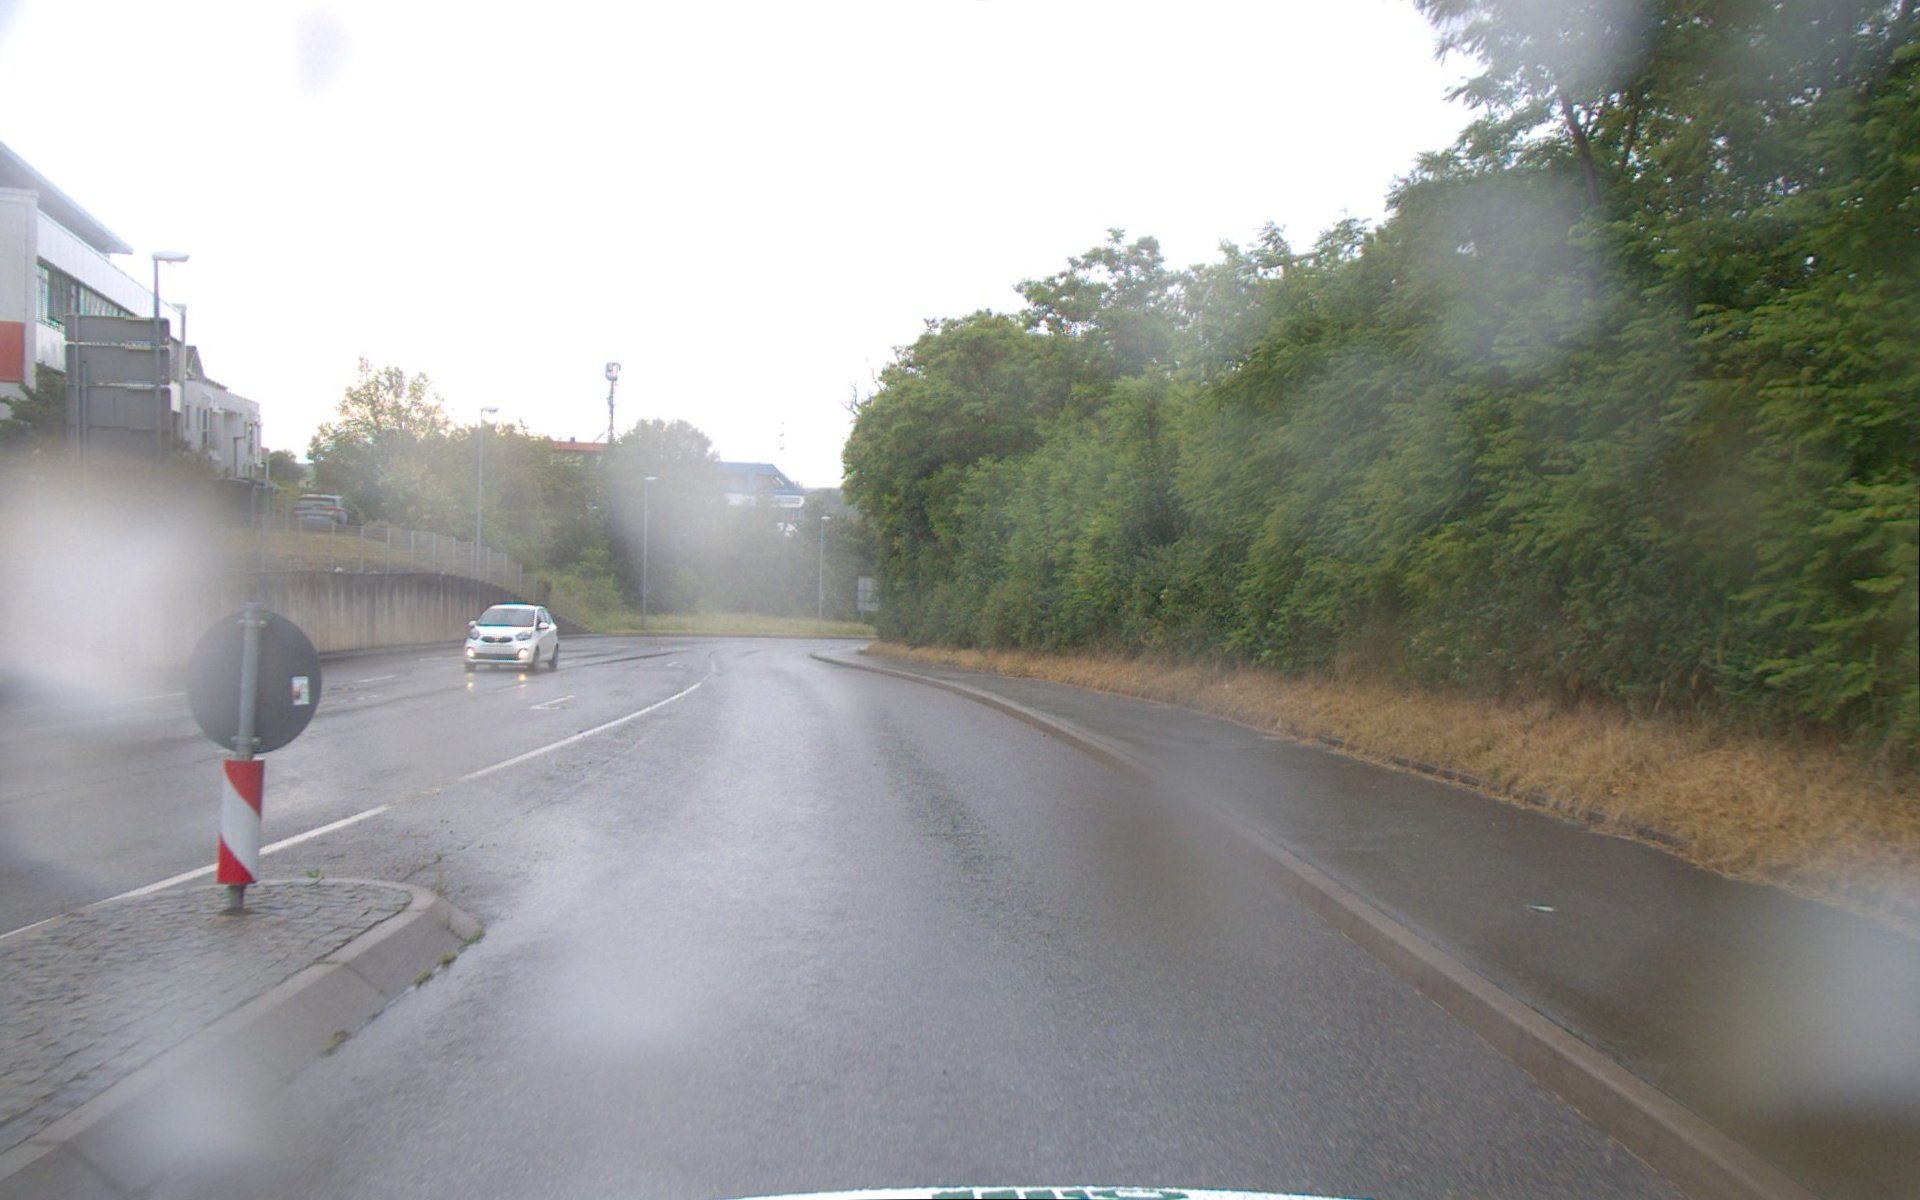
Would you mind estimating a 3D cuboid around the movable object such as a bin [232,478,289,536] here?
[{"bbox_3d":[-19.181,-2.539,45.360,1.064,1.462,1.443,2,-1,-10],"label":"movable object such as a bin"}]

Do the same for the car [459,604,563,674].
[{"bbox_3d":[-10.386,0.868,38.506,1.620,1.454,3.790,1,1,-4],"label":"car"}]

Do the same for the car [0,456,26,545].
[{"bbox_3d":[-19.676,-1.922,31.095,3.913,1.614,1.899,2,-1,30],"label":"car"}]

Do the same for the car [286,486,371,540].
[{"bbox_3d":[-20.801,-2.824,54.629,1.794,1.467,3.991,2,-1,-10],"label":"car"}]

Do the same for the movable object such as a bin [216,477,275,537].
[{"bbox_3d":[-18.939,-2.448,43.892,1.064,1.462,1.443,2,-1,-10],"label":"movable object such as a bin"}]
